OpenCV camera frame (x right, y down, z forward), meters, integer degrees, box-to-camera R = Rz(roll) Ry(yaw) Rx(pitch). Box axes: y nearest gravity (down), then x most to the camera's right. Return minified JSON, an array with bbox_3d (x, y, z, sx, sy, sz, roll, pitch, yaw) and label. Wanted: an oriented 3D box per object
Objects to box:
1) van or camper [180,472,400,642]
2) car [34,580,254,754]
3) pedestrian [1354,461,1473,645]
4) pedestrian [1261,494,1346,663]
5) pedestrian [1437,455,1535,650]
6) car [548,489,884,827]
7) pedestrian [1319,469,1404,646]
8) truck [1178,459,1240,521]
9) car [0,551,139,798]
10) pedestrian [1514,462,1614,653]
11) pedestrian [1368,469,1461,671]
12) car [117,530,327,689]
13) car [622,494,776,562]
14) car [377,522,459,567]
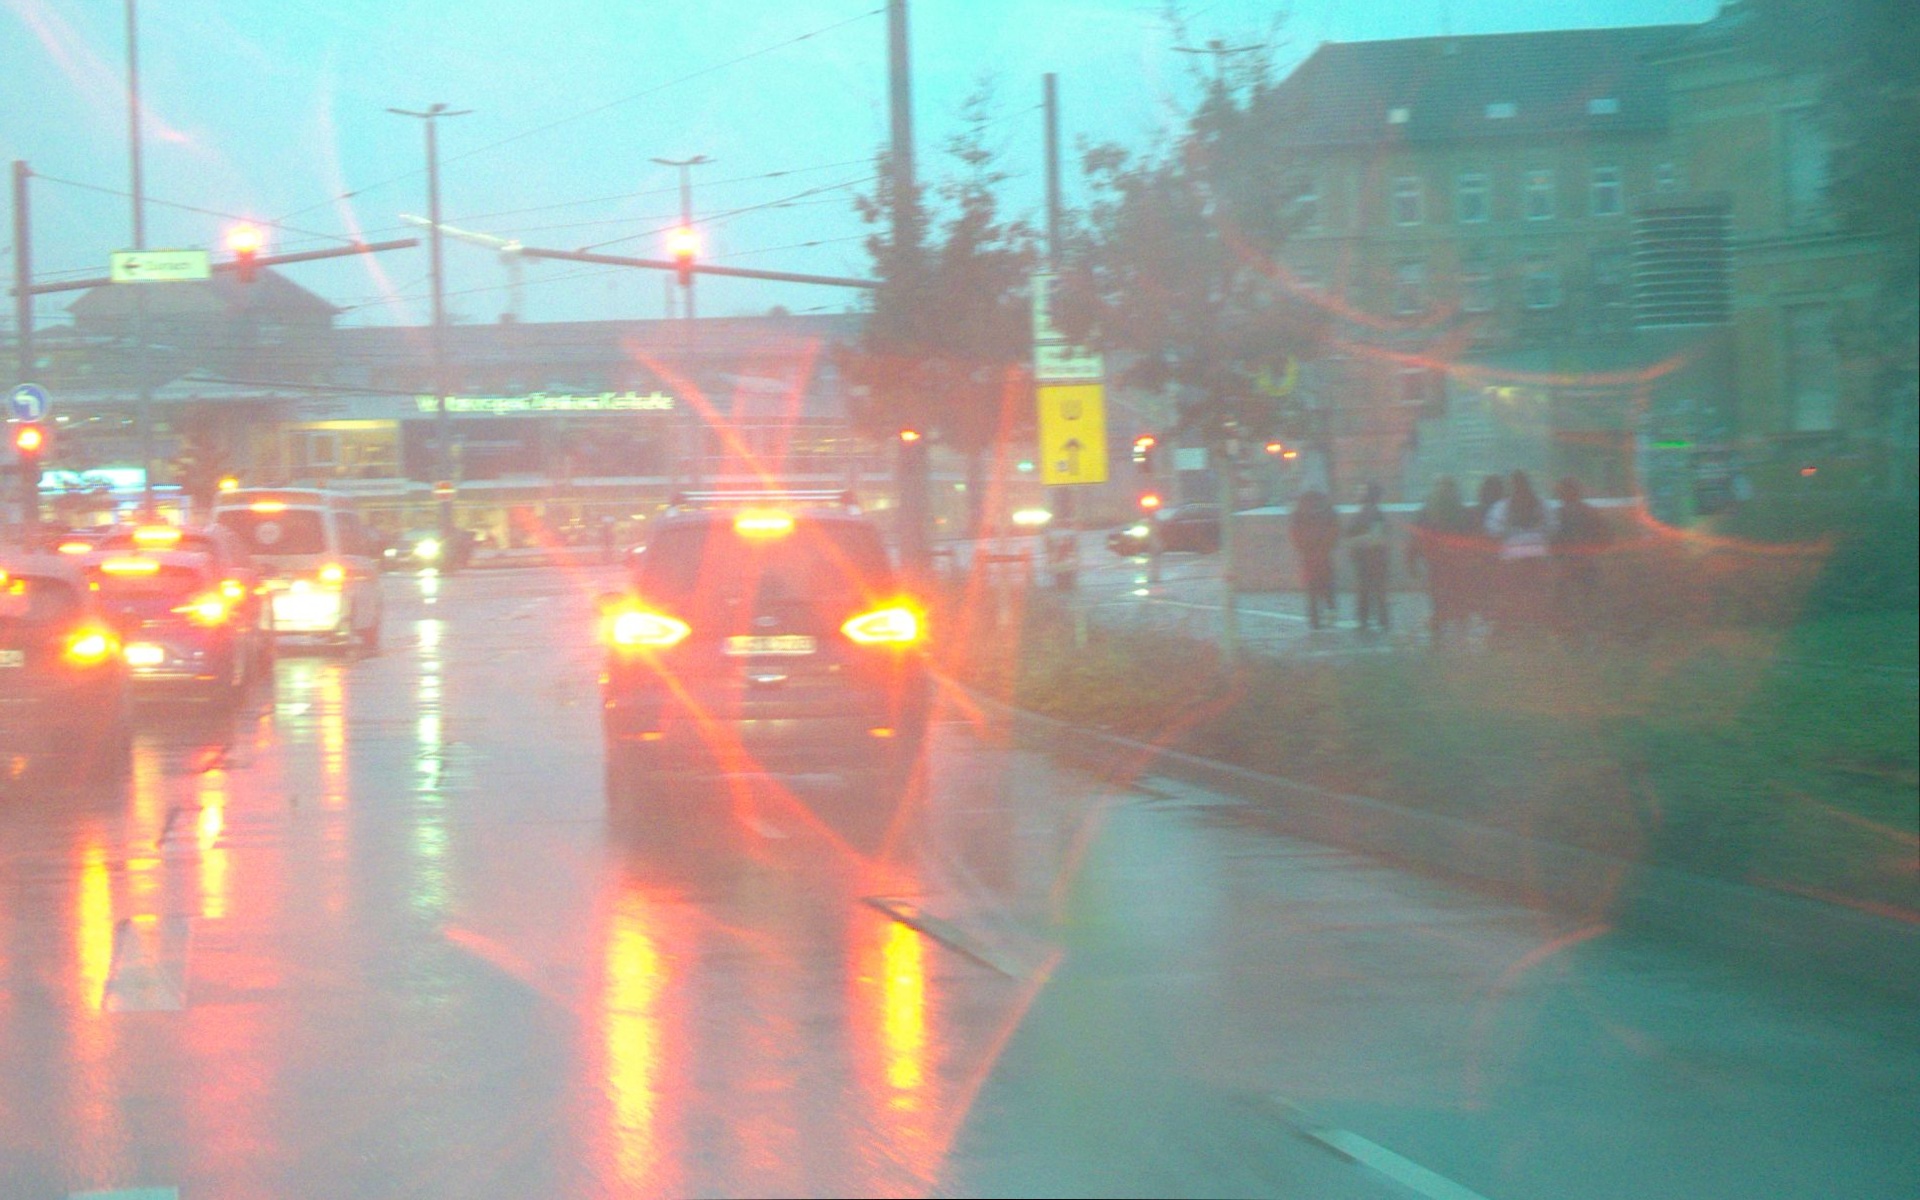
[{"bbox_3d":[-8.774,-0.589,45.423,2.201,2.102,4.988,0,1,-3],"label":"van or camper"},{"bbox_3d":[-7.258,0.554,30.863,1.658,1.399,4.121,0,1,-10],"label":"car"},{"bbox_3d":[4.500,-0.467,34.145,0.851,1.785,0.749,-2,1,-27],"label":"pedestrian"},{"bbox_3d":[3.998,-0.262,39.981,0.808,1.923,0.759,1,4,20],"label":"pedestrian"},{"bbox_3d":[4.713,-0.426,30.775,0.668,1.681,0.611,-3,3,20],"label":"pedestrian"},{"bbox_3d":[-1.468,0.242,20.694,1.777,1.794,4.425,-1,2,-4],"label":"car"},{"bbox_3d":[4.663,-0.507,39.898,0.808,2.006,0.759,1,4,20],"label":"pedestrian"},{"bbox_3d":[11.259,-4.969,155.144,1.994,2.682,5.113,-2,1,13],"label":"truck"},{"bbox_3d":[-6.523,0.435,23.267,1.700,1.476,3.873,1,1,-11],"label":"car"},{"bbox_3d":[5.465,-0.388,31.083,0.718,1.682,0.759,-2,1,19],"label":"pedestrian"},{"bbox_3d":[4.104,-0.278,31.006,0.584,1.775,0.768,-3,1,20],"label":"pedestrian"},{"bbox_3d":[-7.928,0.054,37.270,1.785,1.595,4.542,1,1,-7],"label":"car"},{"bbox_3d":[-7.282,-2.003,95.745,3.986,1.766,2.001,-2,1,-13],"label":"car"},{"bbox_3d":[-18.267,-1.888,116.093,1.813,1.441,4.000,-2,1,5],"label":"car"}]
